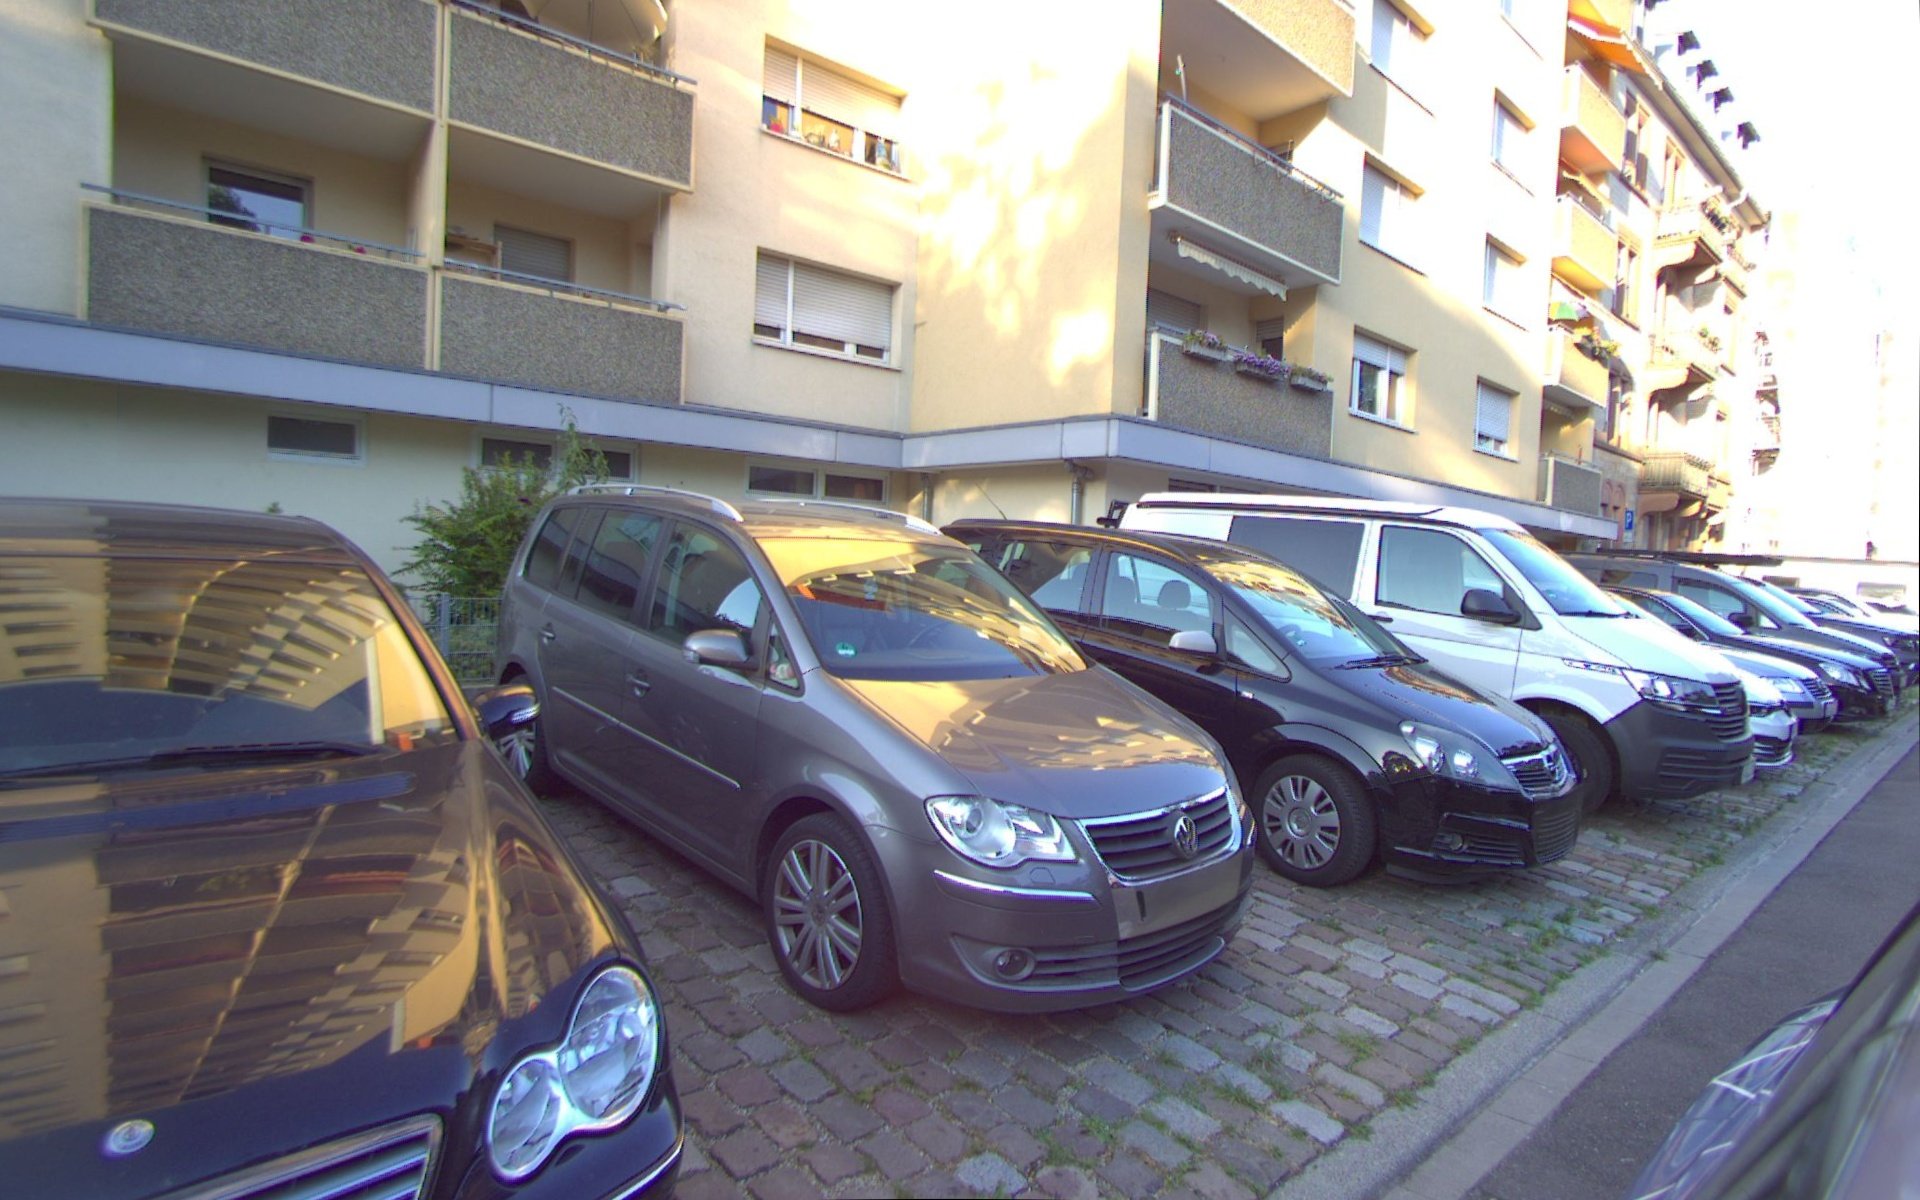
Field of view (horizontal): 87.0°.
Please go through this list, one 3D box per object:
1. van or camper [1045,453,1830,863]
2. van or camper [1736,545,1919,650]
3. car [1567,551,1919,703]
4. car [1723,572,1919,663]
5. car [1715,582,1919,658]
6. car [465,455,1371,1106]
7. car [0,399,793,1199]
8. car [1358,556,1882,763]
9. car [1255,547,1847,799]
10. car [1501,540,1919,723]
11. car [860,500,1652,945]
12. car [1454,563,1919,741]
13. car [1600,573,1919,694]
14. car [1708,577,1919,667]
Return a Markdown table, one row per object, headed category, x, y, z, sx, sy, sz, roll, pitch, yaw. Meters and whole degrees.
| category | x | y | z | sx | sy | sz | roll | pitch | yaw |
| --- | --- | --- | --- | --- | --- | --- | --- | --- | --- |
| van or camper | 3.319 | 0.051 | 8.071 | 2.006 | 2.192 | 5.144 | 0 | 7 | -43 |
| van or camper | 24.933 | -0.034 | 27.178 | 2.014 | 2.534 | 6.074 | 1 | 4 | -41 |
| car | 12.326 | 0.295 | 15.741 | 1.814 | 1.885 | 4.522 | 0 | 4 | -41 |
| car | 20.909 | 0.353 | 23.731 | 1.811 | 1.769 | 4.420 | -1 | 5 | -36 |
| car | 22.292 | 0.453 | 25.930 | 1.813 | 1.638 | 4.414 | -2 | 4 | -40 |
| car | -0.664 | 0.226 | 4.795 | 1.815 | 1.680 | 4.412 | -2 | 7 | -43 |
| car | -2.489 | 0.366 | 2.908 | 1.815 | 1.549 | 4.411 | -2 | 6 | -43 |
| car | 6.924 | 0.423 | 11.051 | 1.814 | 1.611 | 4.413 | -2 | 6 | -41 |
| car | 5.246 | 0.418 | 9.531 | 1.814 | 1.650 | 4.413 | -2 | 6 | -41 |
| car | 10.495 | 0.248 | 14.272 | 1.814 | 2.004 | 4.647 | -2 | 6 | -41 |
| car | 1.425 | 0.323 | 6.247 | 1.752 | 1.680 | 4.334 | -2 | 7 | -43 |
| car | 8.777 | 0.450 | 12.495 | 1.814 | 1.581 | 4.413 | -2 | 6 | -41 |
| car | 14.057 | 0.455 | 17.717 | 1.813 | 1.572 | 4.416 | -2 | 5 | -39 |
| car | 19.150 | 0.428 | 21.900 | 1.813 | 1.572 | 4.415 | -2 | 6 | -40 |
